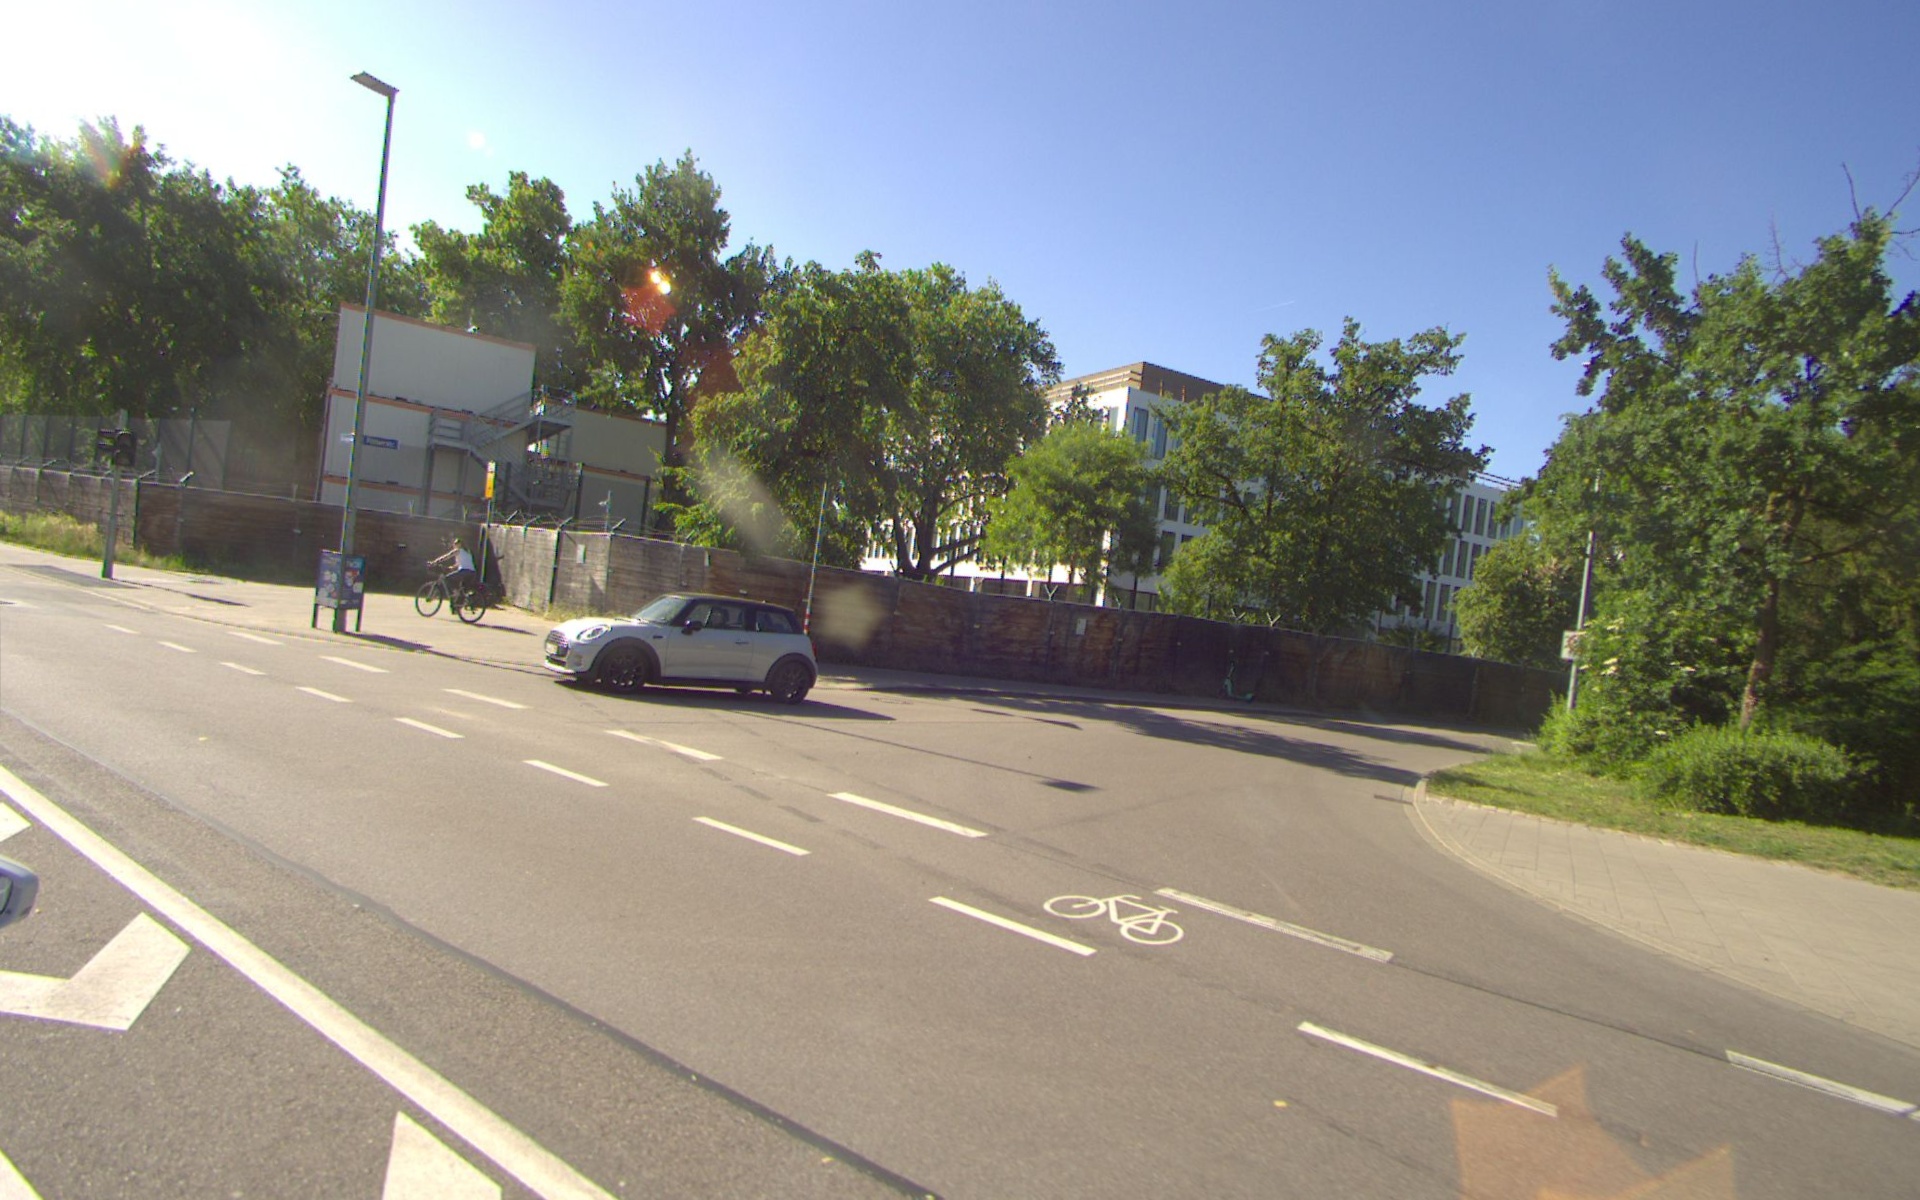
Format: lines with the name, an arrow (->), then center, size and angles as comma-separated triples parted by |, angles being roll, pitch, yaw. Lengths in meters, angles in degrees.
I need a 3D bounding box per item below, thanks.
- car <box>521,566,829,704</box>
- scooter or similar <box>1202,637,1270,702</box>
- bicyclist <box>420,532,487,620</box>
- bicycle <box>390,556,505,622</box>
car -> -3.958, 0.527, 14.226 | 3.684, 1.453, 1.753 | 9, -1, -39
scooter or similar -> 8.305, 2.099, 30.232 | 2.057, 1.704, 0.571 | 8, -1, -33
bicyclist -> -10.441, -0.483, 20.755 | 0.836, 1.694, 0.743 | 6, 1, 10
bicycle -> -10.590, -0.222, 20.794 | 2.083, 1.127, 0.604 | 6, 2, 9
